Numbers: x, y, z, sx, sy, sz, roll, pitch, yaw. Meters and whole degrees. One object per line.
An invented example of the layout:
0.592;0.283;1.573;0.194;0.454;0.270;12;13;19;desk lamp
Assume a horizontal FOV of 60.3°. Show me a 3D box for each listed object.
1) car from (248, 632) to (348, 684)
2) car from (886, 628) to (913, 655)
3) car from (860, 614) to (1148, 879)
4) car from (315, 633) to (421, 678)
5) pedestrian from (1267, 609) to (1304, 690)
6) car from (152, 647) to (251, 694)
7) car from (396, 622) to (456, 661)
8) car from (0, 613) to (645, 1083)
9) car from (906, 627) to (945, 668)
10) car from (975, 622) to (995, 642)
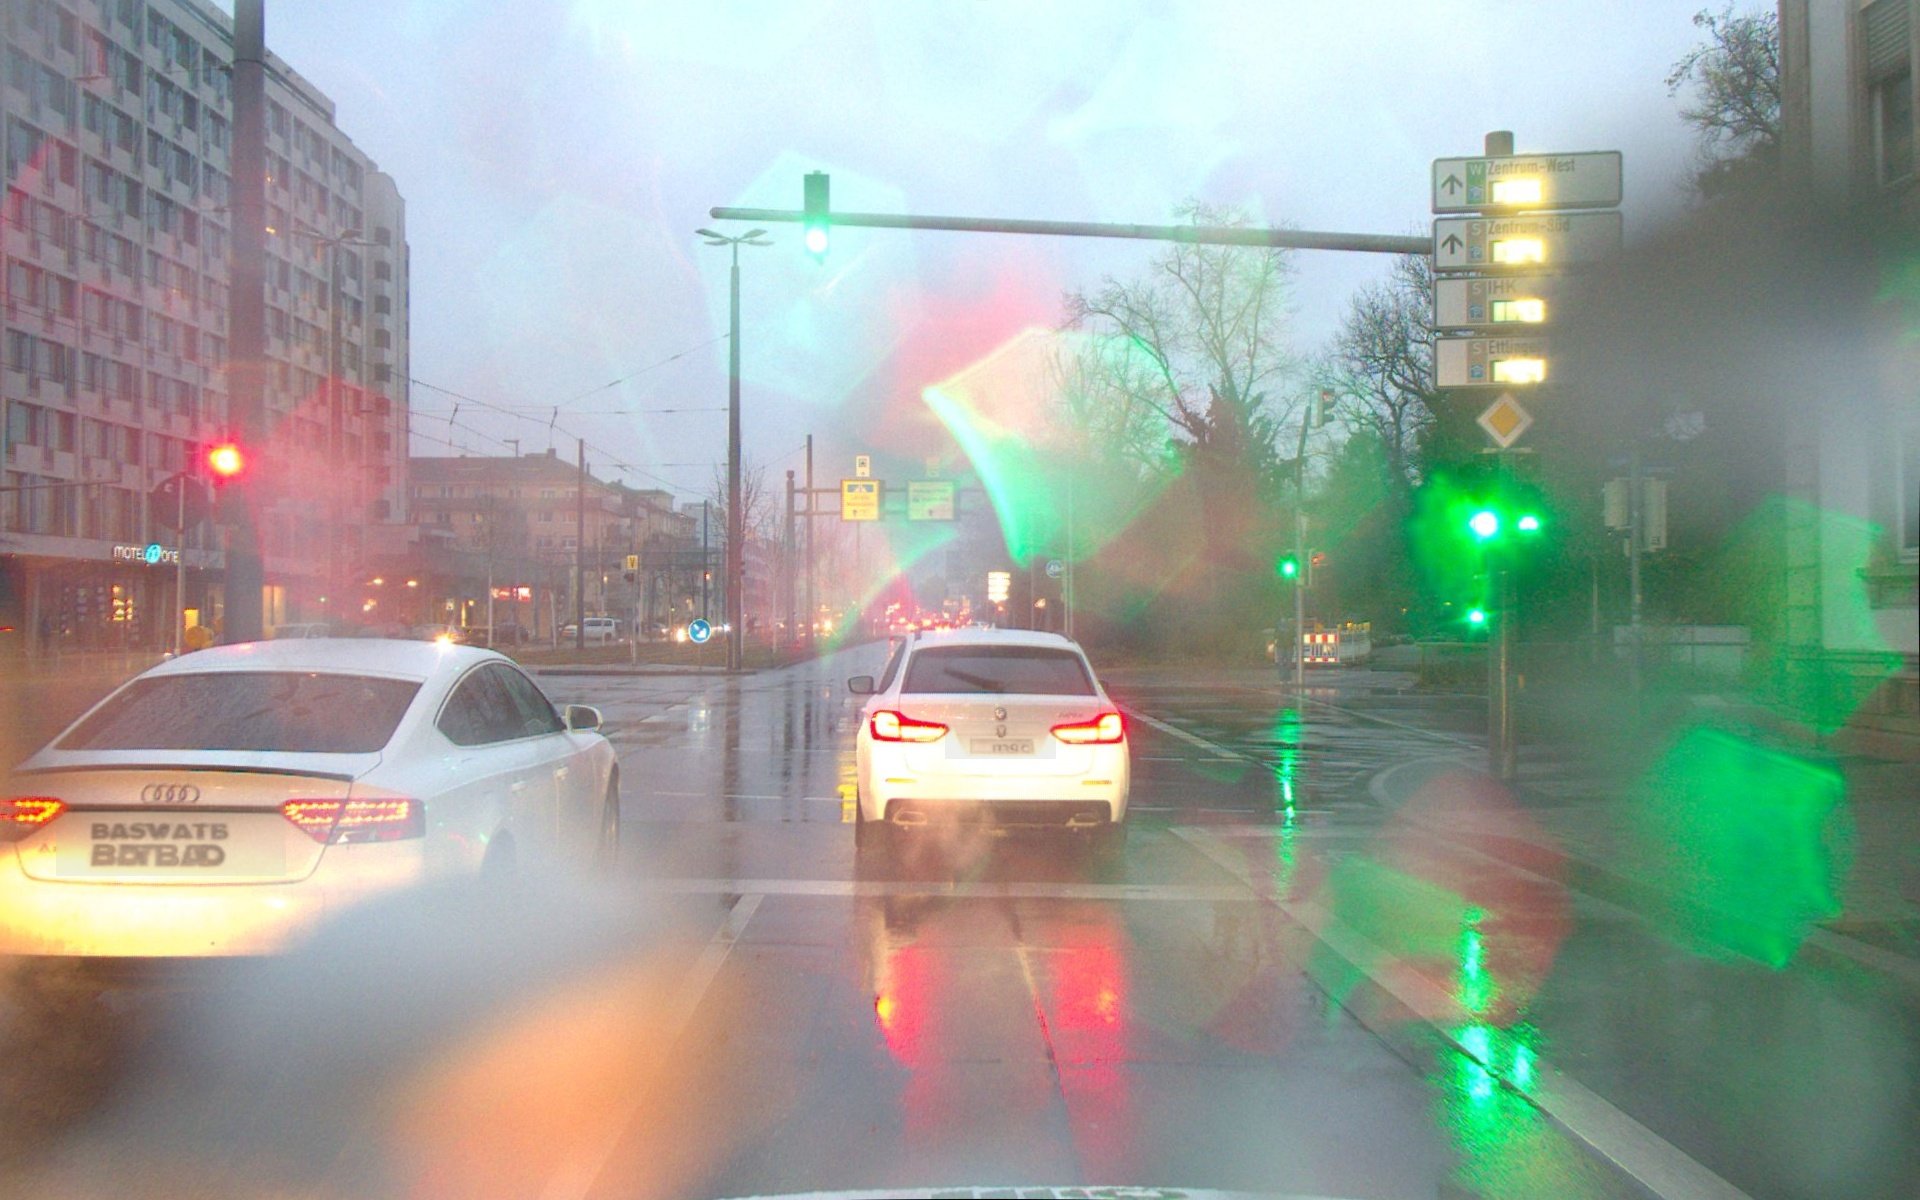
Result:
-24.048;2.073;60.252;1.843;1.821;4.597;1;-1;-1;car
-4.663;3.192;128.448;1.953;2.049;3.999;1;-1;-1;car
0.168;0.923;12.074;1.724;1.580;4.248;1;-1;-3;car
-20.935;1.925;58.685;1.953;1.487;5.093;1;-1;-1;car
7.802;1.182;39.658;0.660;1.912;0.714;1;-1;-8;pedestrian
-27.643;2.540;60.390;1.843;1.601;3.998;1;-1;-2;car
-21.119;1.617;65.555;1.960;1.487;5.074;1;-1;-15;car
-2.598;0.837;7.439;1.724;1.495;4.248;1;-1;-3;car
-1.753;2.447;85.284;1.953;2.049;3.999;1;-1;-1;car
2.569;3.385;172.978;1.953;2.049;3.999;1;-1;-1;car
